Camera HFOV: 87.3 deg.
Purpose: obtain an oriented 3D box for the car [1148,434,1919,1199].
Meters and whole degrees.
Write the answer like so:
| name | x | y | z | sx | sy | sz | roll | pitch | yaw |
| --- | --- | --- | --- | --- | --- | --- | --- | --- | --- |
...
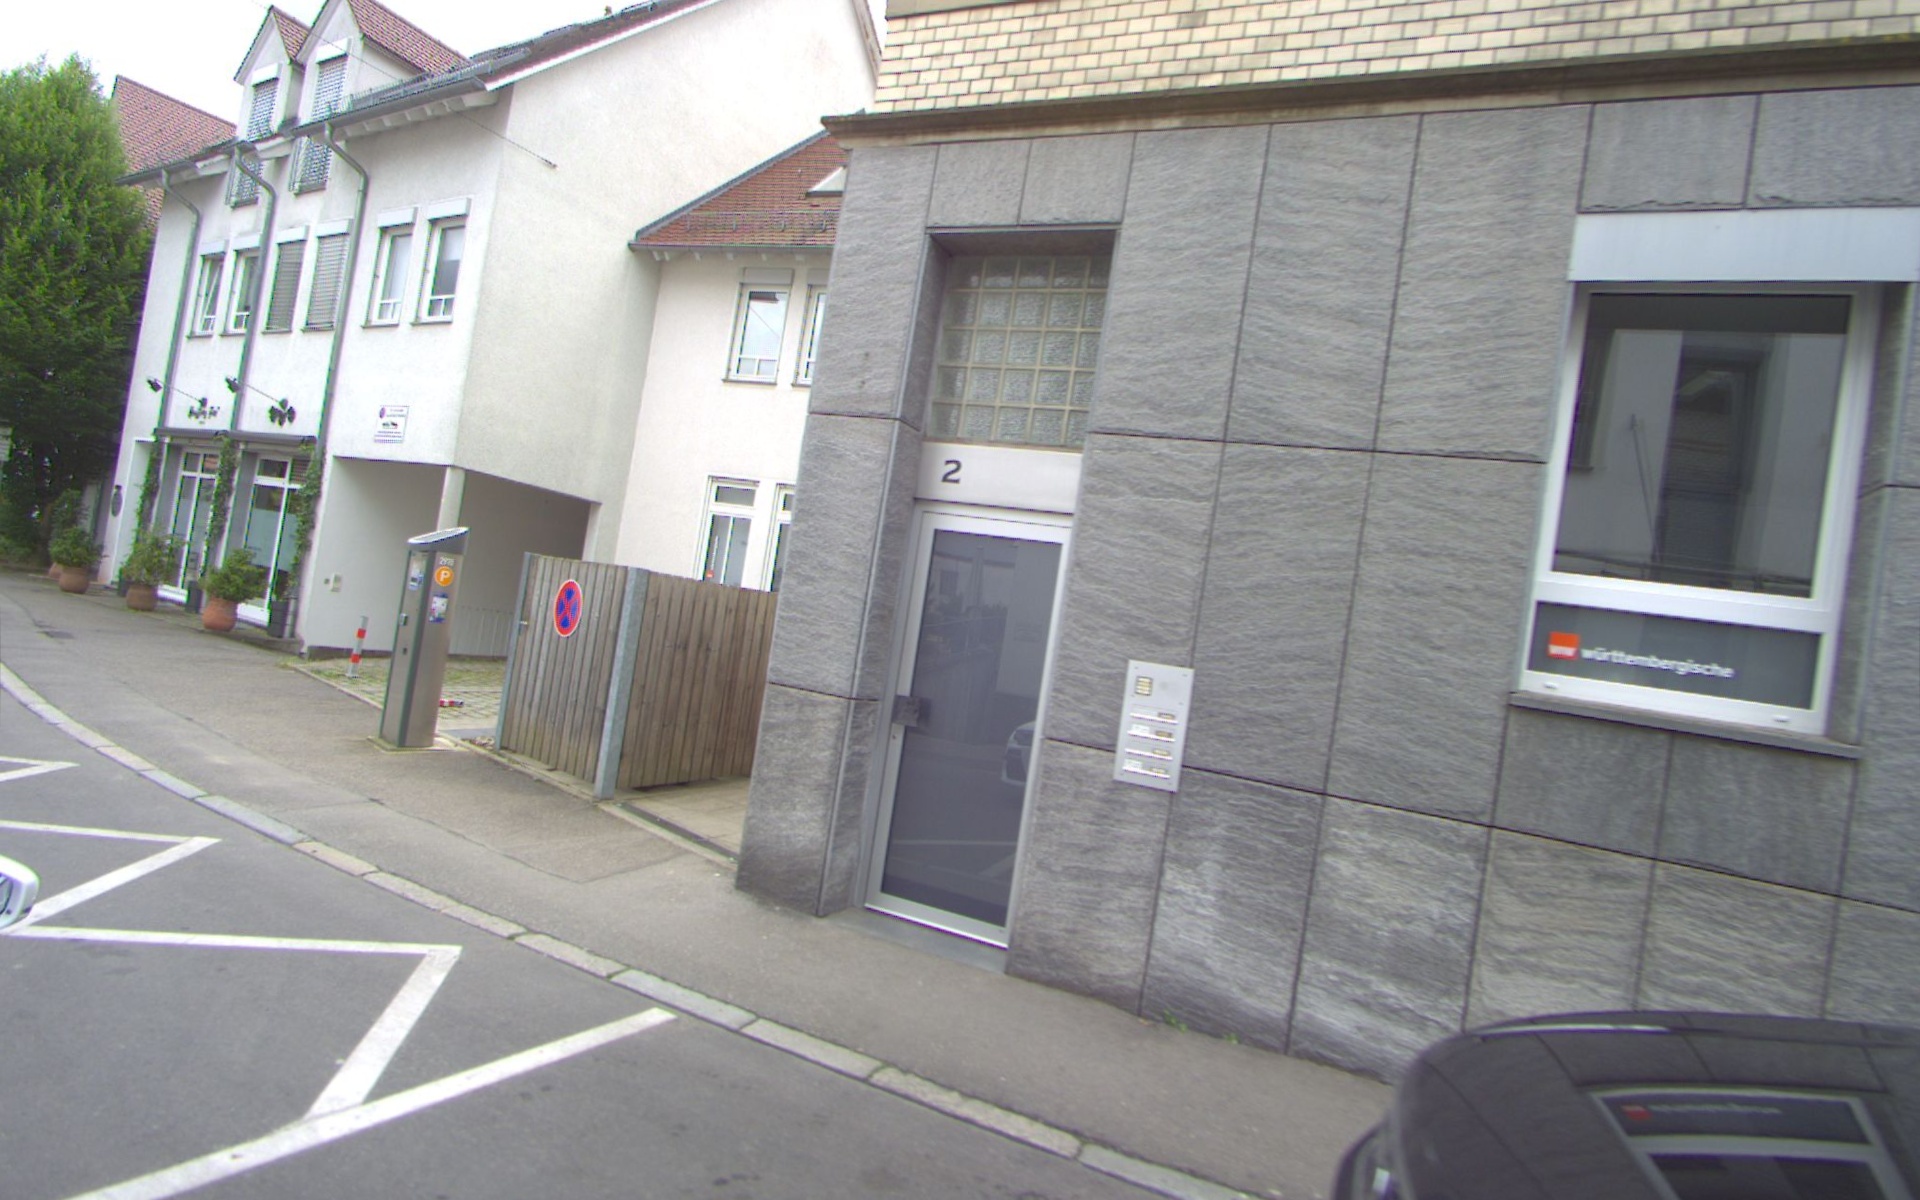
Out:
| name | x | y | z | sx | sy | sz | roll | pitch | yaw |
| --- | --- | --- | --- | --- | --- | --- | --- | --- | --- |
| car | 2.523 | 1.028 | 0.974 | 4.458 | 1.617 | 1.796 | 8 | -3 | 20 |

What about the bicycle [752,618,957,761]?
| name | x | y | z | sx | sy | sz | roll | pitch | yaw |
| --- | --- | --- | --- | --- | --- | --- | --- | --- | --- |
| bicycle | -1.227 | 0.990 | 11.540 | 2.066 | 1.234 | 0.960 | 9 | 1 | 34 |
